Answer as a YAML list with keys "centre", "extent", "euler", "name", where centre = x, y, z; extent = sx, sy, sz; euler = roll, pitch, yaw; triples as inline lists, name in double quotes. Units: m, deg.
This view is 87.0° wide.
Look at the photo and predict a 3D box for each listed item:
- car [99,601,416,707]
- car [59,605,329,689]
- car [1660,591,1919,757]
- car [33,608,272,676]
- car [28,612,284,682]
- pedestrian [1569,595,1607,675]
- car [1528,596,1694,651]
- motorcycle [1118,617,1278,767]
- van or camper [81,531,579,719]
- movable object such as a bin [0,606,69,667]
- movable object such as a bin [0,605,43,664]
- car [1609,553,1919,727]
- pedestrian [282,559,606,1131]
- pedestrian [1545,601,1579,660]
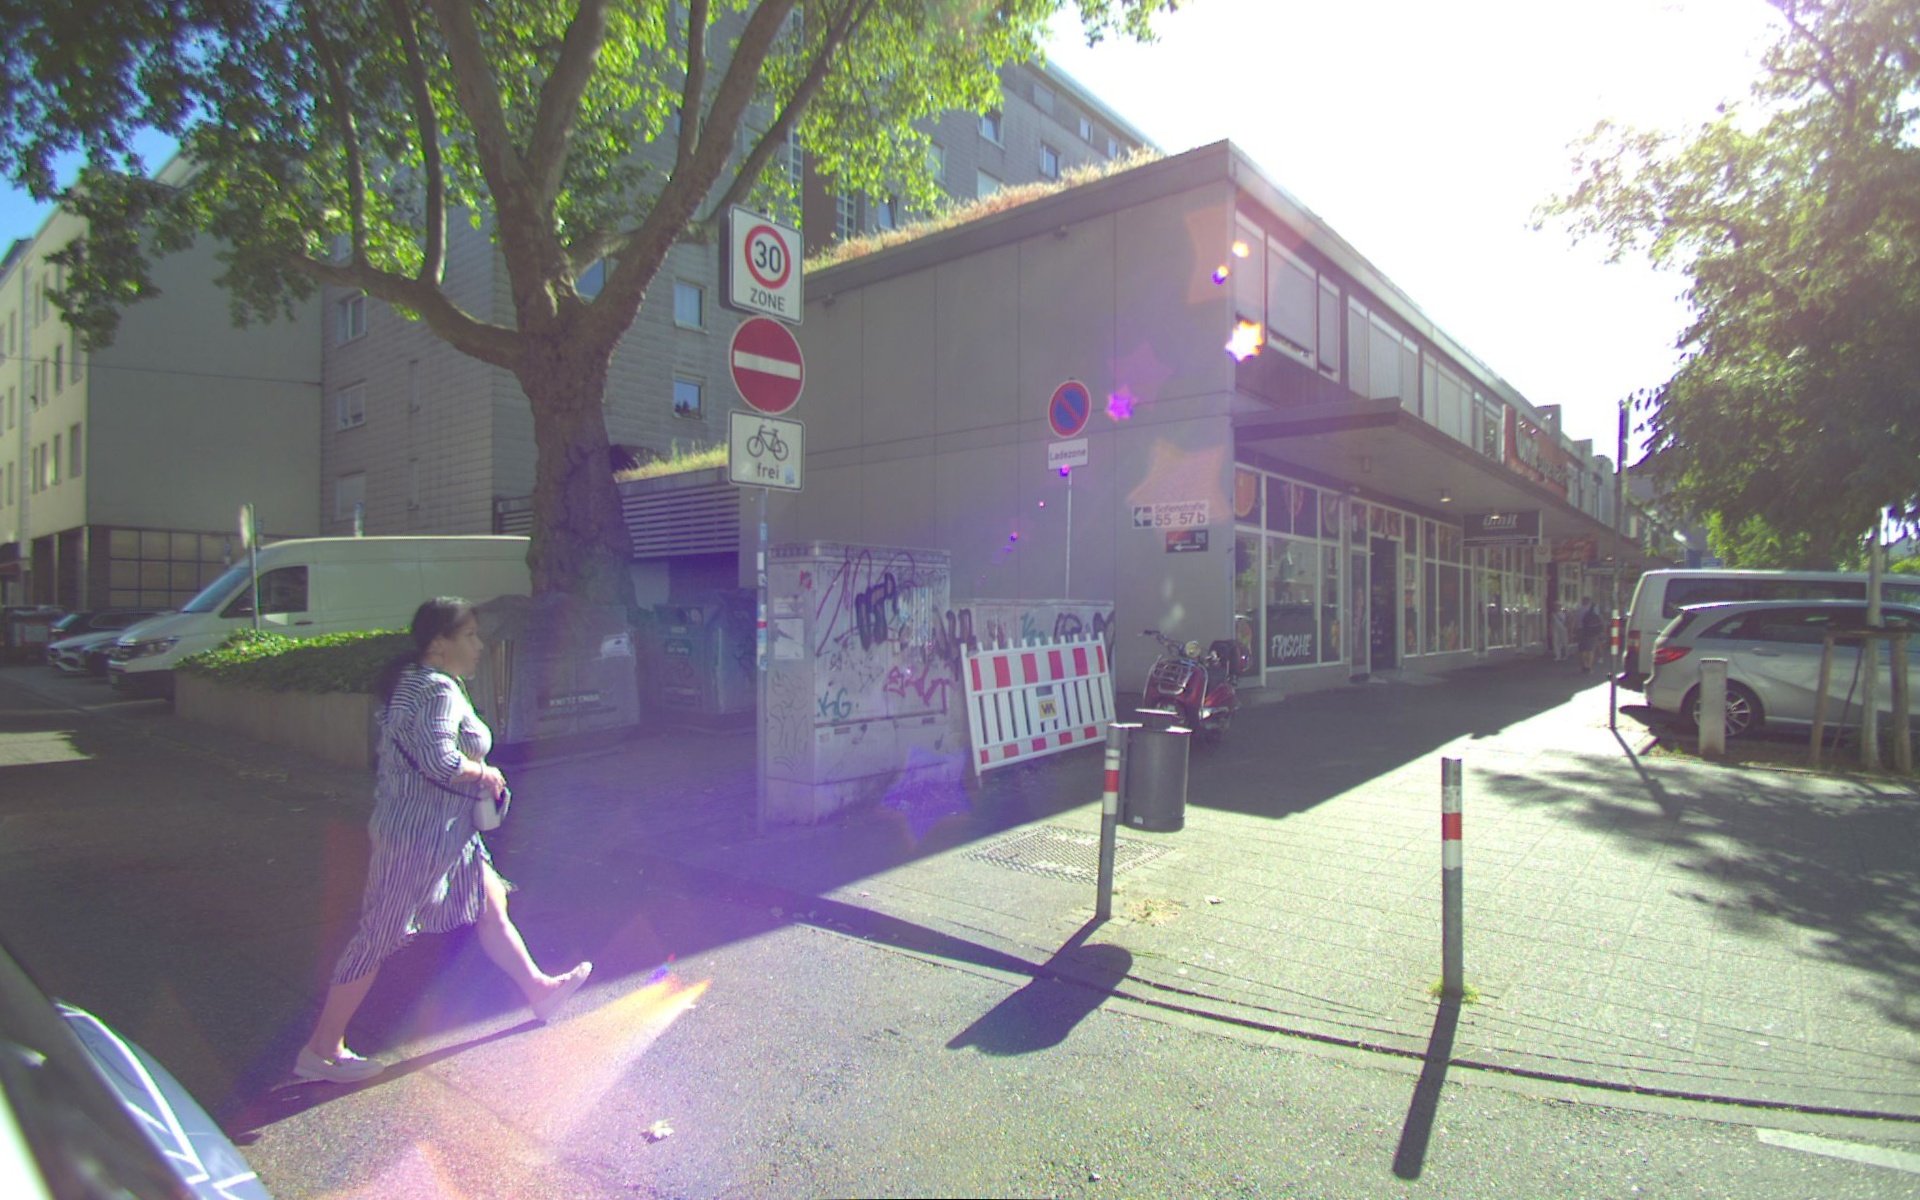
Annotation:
- centre: [-12.443, 0.866, 18.187]
  extent: [1.697, 1.545, 4.361]
  euler: [-1, 1, 38]
  name: "car"
- centre: [-16.385, 0.933, 21.889]
  extent: [1.694, 1.629, 4.368]
  euler: [-1, -1, 33]
  name: "car"
- centre: [10.012, 0.738, 10.595]
  extent: [4.299, 1.625, 1.735]
  euler: [-1, -1, 39]
  name: "car"
- centre: [-19.950, 0.987, 25.195]
  extent: [1.694, 1.545, 4.368]
  euler: [-1, -1, 33]
  name: "car"
- centre: [-18.452, 1.013, 23.444]
  extent: [1.595, 1.474, 4.368]
  euler: [-1, -1, 33]
  name: "car"
- centre: [13.521, 0.744, 21.782]
  extent: [0.566, 1.678, 0.702]
  euler: [1, 0, 41]
  name: "pedestrian"
- centre: [24.976, 0.877, 38.955]
  extent: [5.224, 1.996, 1.640]
  euler: [0, -1, 39]
  name: "car"
- centre: [2.254, 0.787, 9.406]
  extent: [0.669, 1.189, 1.896]
  euler: [-1, 0, 40]
  name: "motorcycle"
- centre: [-10.243, 0.206, 17.233]
  extent: [1.999, 2.593, 6.836]
  euler: [-1, 2, 40]
  name: "van or camper"
- centre: [-23.813, 0.908, 25.898]
  extent: [1.193, 1.512, 1.312]
  euler: [-1, -1, 38]
  name: "movable object such as a bin"
- centre: [-25.074, 0.898, 26.596]
  extent: [1.515, 1.512, 1.207]
  euler: [-1, -1, 38]
  name: "movable object such as a bin"
- centre: [11.213, 0.462, 12.940]
  extent: [4.739, 2.021, 1.934]
  euler: [1, 0, 38]
  name: "car"
- centre: [-1.657, 0.695, 3.391]
  extent: [0.832, 1.585, 0.849]
  euler: [-1, -2, -21]
  name: "pedestrian"
- centre: [16.054, 0.800, 26.984]
  extent: [0.689, 1.533, 0.525]
  euler: [1, 0, 41]
  name: "pedestrian"
